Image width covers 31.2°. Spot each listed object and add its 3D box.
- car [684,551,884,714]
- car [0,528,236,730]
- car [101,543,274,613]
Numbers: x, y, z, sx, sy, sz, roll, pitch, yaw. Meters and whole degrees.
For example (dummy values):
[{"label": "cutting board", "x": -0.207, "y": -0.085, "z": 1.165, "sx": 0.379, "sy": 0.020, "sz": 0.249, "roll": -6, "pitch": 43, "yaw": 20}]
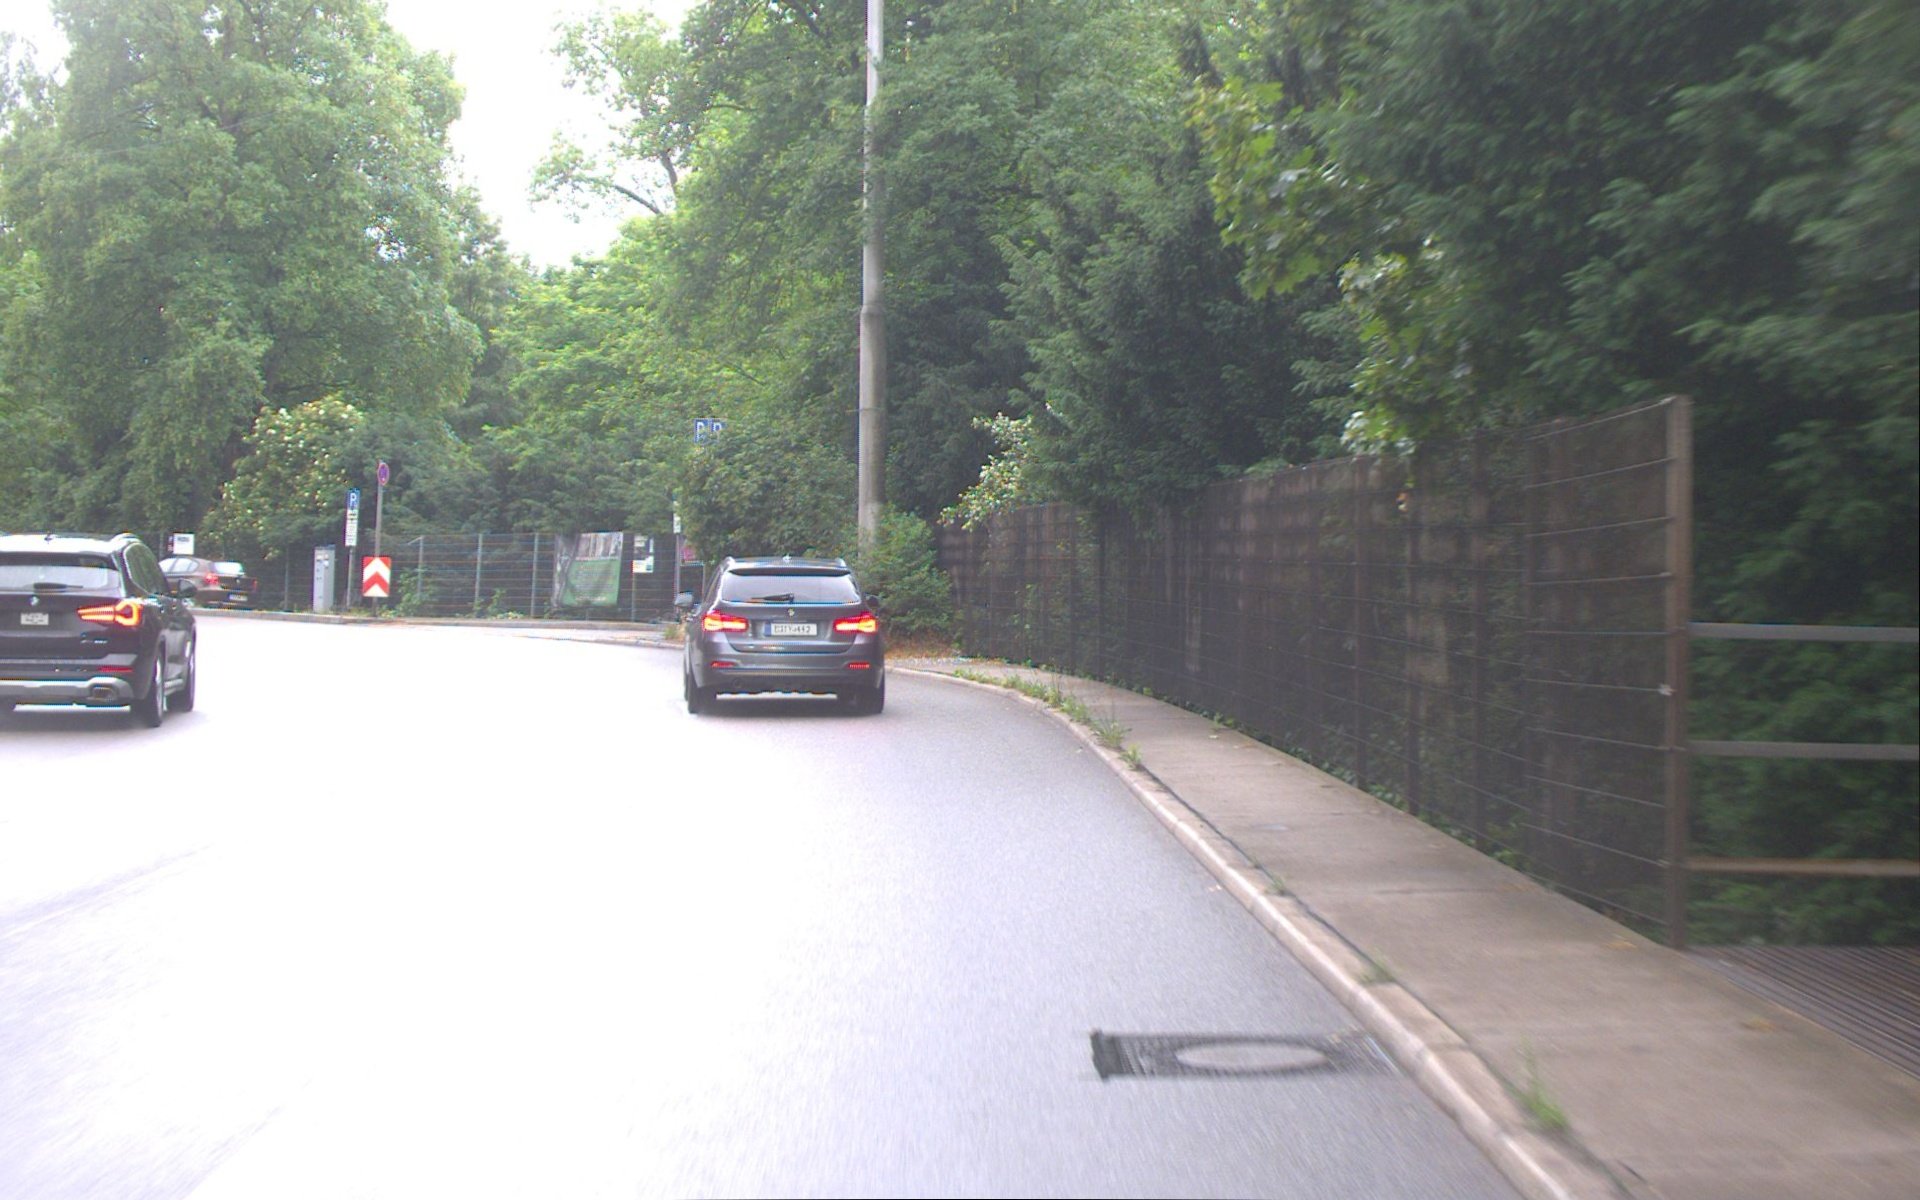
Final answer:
[{"label": "car", "x": -1.678, "y": 0.260, "z": 32.762, "sx": 1.757, "sy": 1.427, "sz": 4.413, "roll": 0, "pitch": 1, "yaw": -3}, {"label": "car", "x": -7.644, "y": 0.197, "z": 30.147, "sx": 1.757, "sy": 1.580, "sz": 4.413, "roll": 2, "pitch": 1, "yaw": -2}, {"label": "car", "x": -18.372, "y": -0.535, "z": 81.659, "sx": 4.367, "sy": 1.422, "sz": 1.688, "roll": 3, "pitch": -2, "yaw": 42}]
